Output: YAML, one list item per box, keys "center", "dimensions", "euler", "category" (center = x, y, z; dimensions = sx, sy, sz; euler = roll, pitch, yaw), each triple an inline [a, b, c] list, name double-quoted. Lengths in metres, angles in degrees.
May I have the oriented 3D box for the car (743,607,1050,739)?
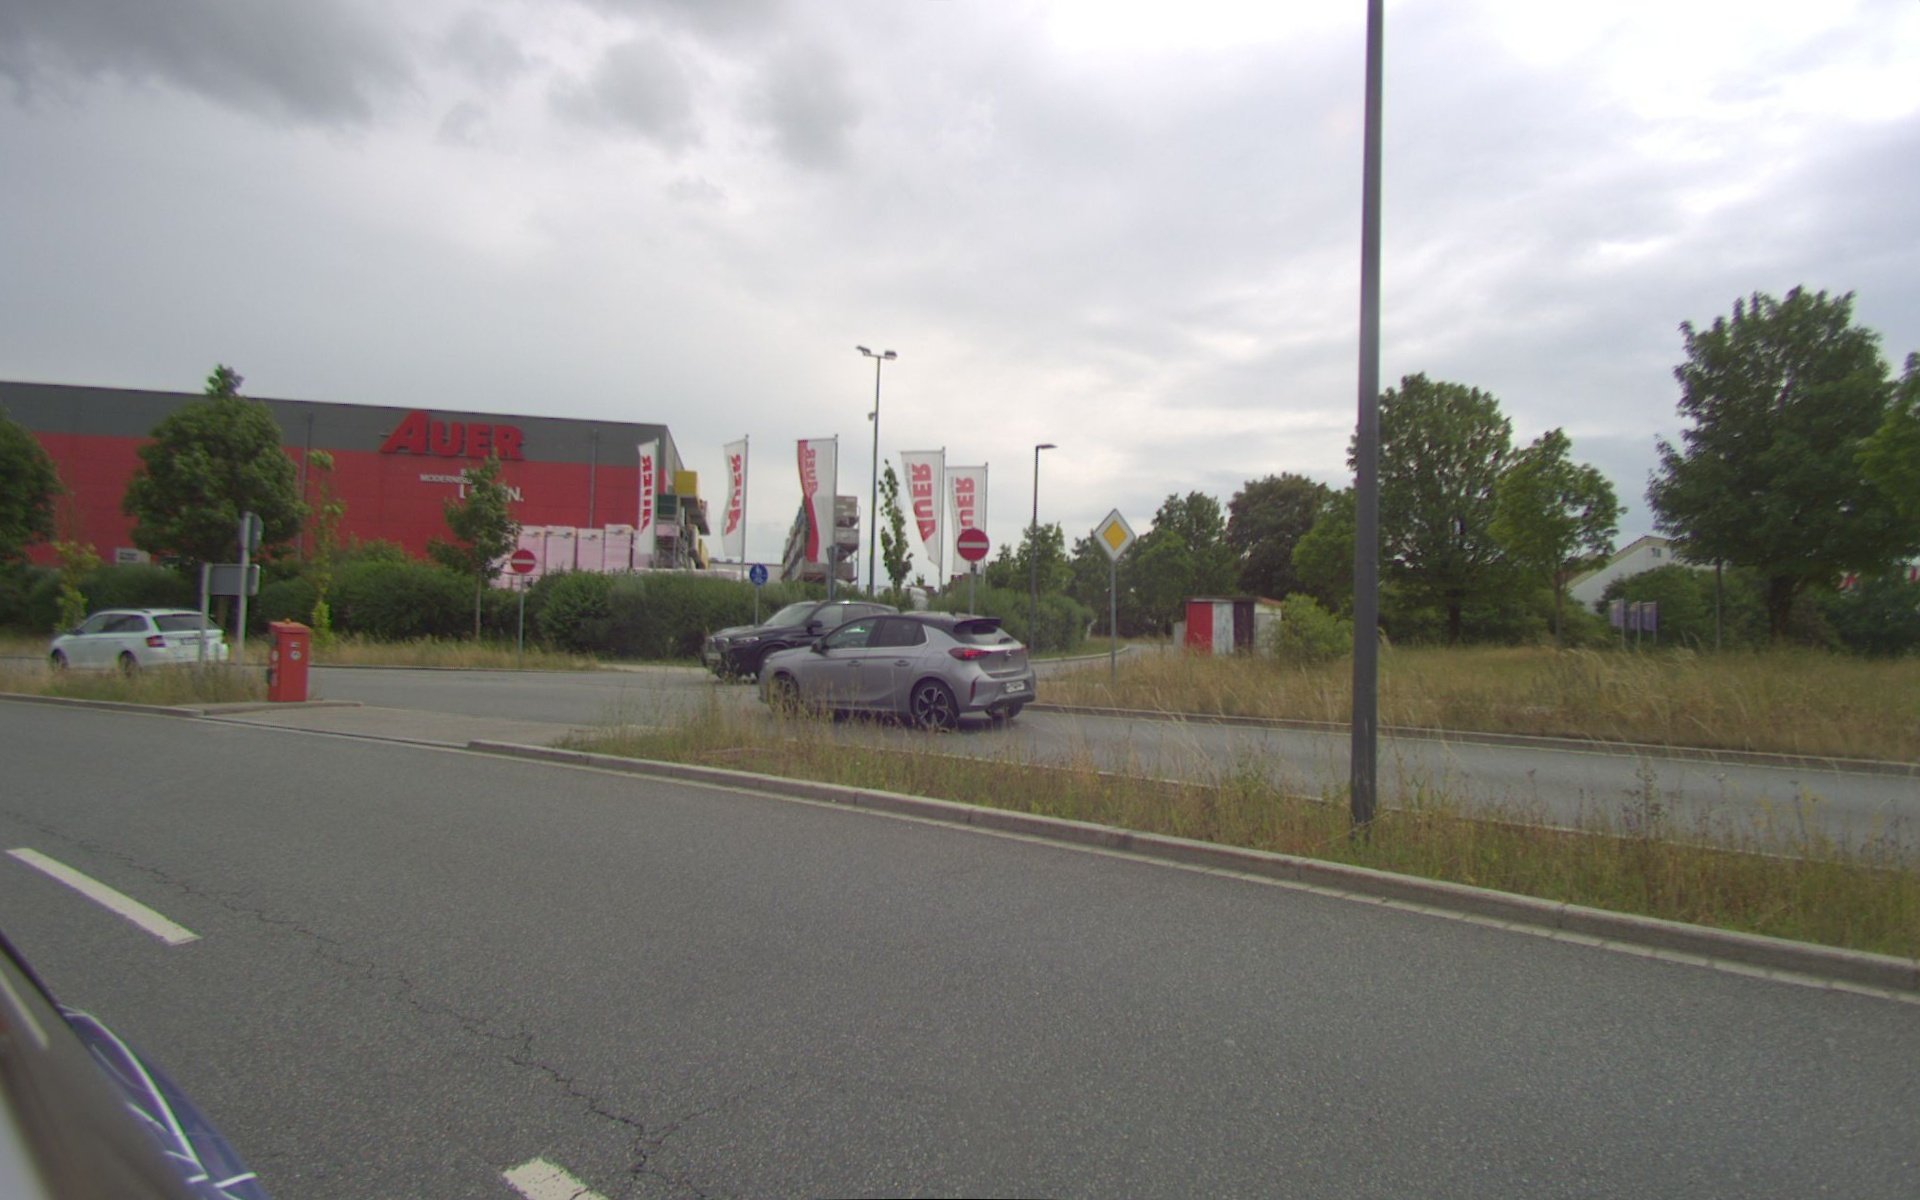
- center: [-0.932, 0.861, 13.381]
  dimensions: [4.088, 1.497, 1.445]
  euler: [0, -2, 36]
  category: "car"

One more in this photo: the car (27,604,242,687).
- center: [-17.752, 0.956, 21.777]
  dimensions: [4.238, 1.647, 1.708]
  euler: [0, -3, 22]
  category: "car"

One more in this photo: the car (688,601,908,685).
- center: [-3.271, 0.849, 21.003]
  dimensions: [4.191, 1.561, 1.875]
  euler: [2, -2, -44]
  category: "car"
